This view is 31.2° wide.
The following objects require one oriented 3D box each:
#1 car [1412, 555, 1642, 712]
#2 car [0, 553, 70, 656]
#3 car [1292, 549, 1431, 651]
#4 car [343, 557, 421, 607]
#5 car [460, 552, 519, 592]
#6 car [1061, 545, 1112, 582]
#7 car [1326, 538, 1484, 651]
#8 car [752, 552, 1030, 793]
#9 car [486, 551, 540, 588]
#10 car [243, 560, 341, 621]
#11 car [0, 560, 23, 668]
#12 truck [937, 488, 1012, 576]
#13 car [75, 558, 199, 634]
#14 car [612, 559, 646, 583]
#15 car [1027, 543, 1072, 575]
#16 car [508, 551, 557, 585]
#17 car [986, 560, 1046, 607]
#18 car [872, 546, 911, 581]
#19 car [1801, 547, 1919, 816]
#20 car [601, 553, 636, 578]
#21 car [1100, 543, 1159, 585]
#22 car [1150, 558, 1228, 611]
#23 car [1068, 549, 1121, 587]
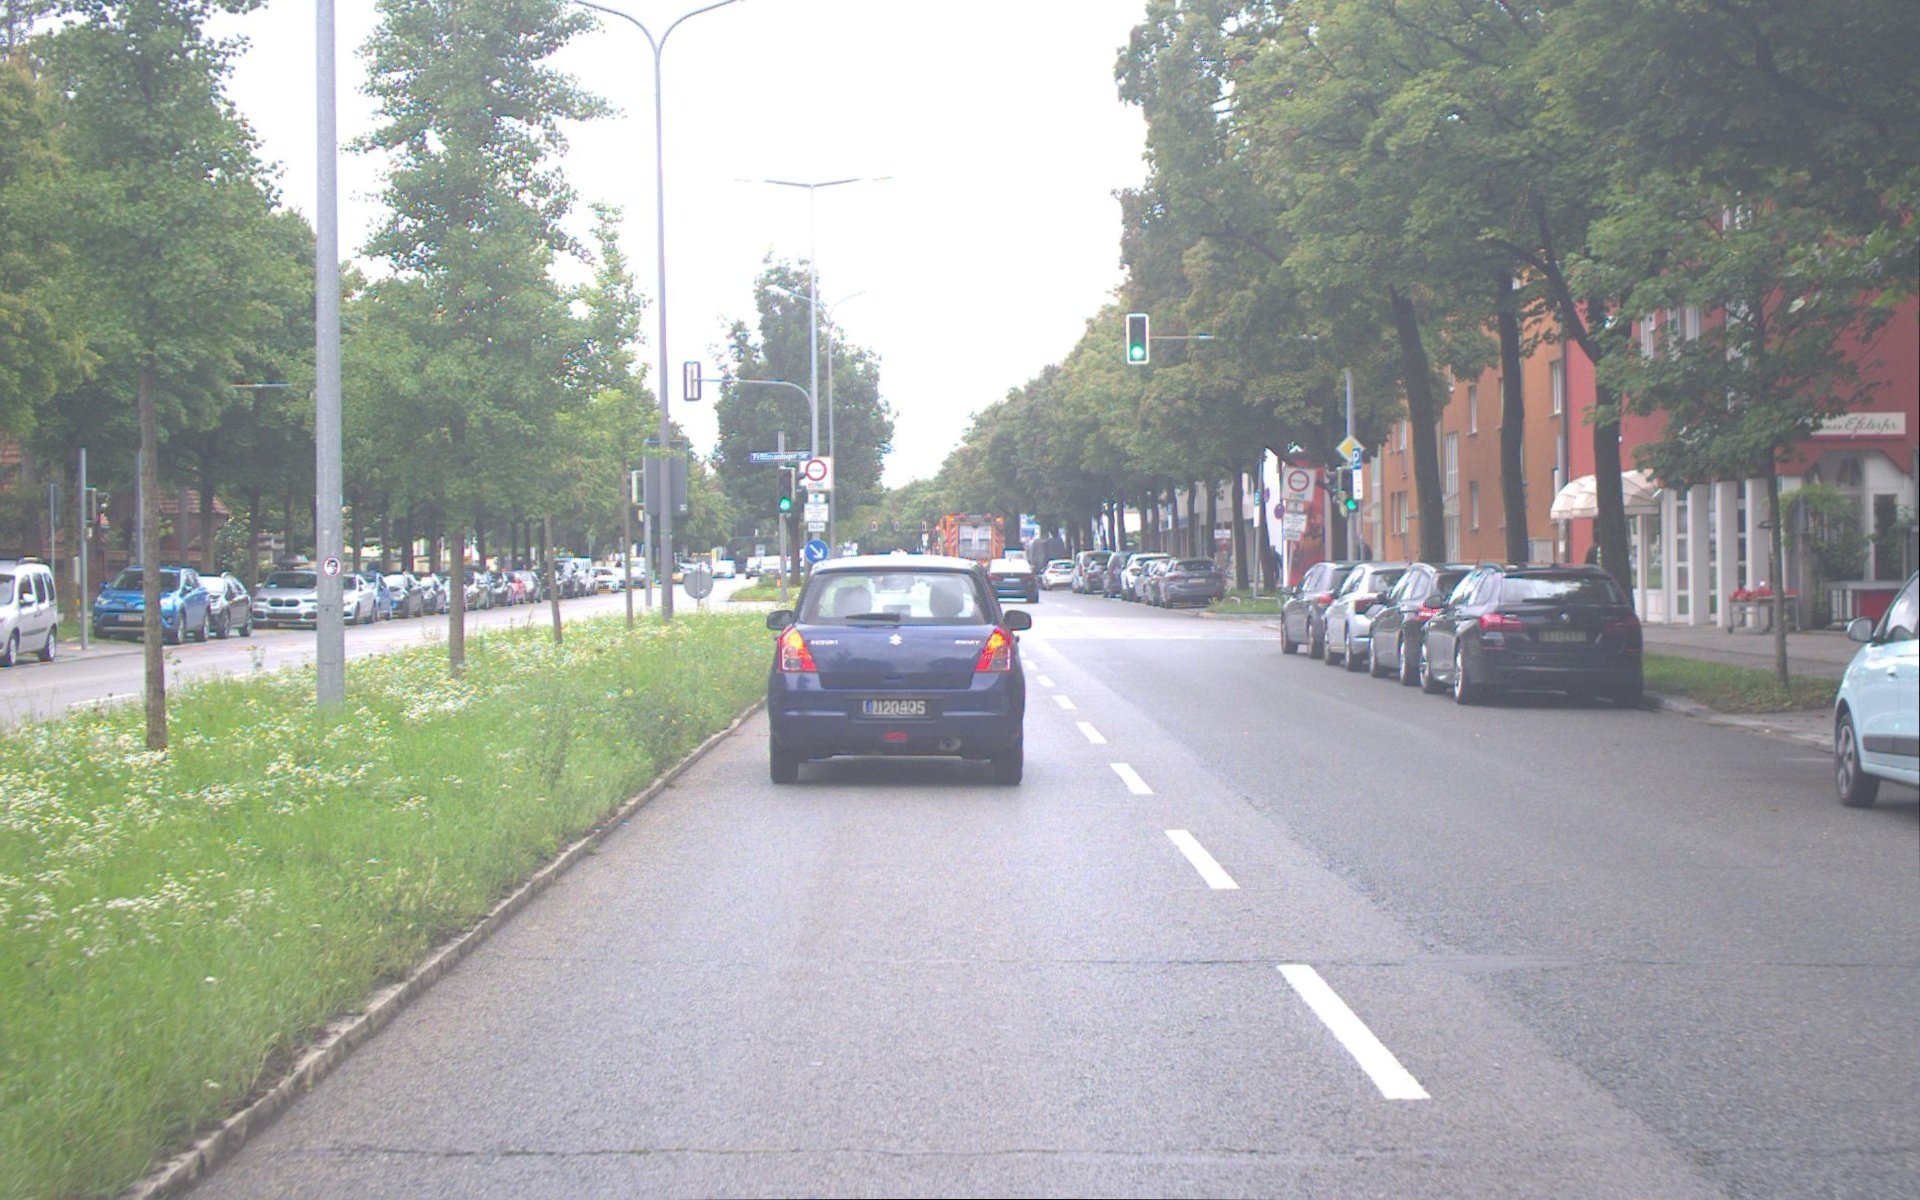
[{"bbox_3d":[5.943,0.304,36.495,1.653,1.447,4.708,-2,1,1],"label":"car"},{"bbox_3d":[-16.870,0.063,59.878,1.706,1.728,4.000,-1,1,0],"label":"car"},{"bbox_3d":[6.039,-0.028,52.048,1.695,1.447,4.123,-1,1,1],"label":"car"},{"bbox_3d":[-18.109,-0.583,107.825,1.801,1.529,4.000,0,1,0],"label":"car"},{"bbox_3d":[-18.652,-1.132,136.391,1.801,1.529,4.000,-1,1,0],"label":"car"},{"bbox_3d":[5.462,-1.592,148.516,1.993,1.525,4.000,-1,1,0],"label":"car"},{"bbox_3d":[5.989,-0.107,46.631,1.695,1.447,4.123,-1,1,1],"label":"car"},{"bbox_3d":[-0.423,0.430,23.826,1.753,1.499,4.000,-1,1,0],"label":"car"},{"bbox_3d":[-18.990,-1.297,146.261,1.801,1.529,4.000,-1,1,0],"label":"car"},{"bbox_3d":[-17.684,-0.278,91.157,1.801,1.529,4.000,-1,1,0],"label":"car"},{"bbox_3d":[-16.399,0.241,54.219,2.185,1.730,4.579,0,1,-3],"label":"car"},{"bbox_3d":[0.649,-2.881,146.638,3.041,3.545,13.675,0,1,0],"label":"truck"},{"bbox_3d":[-17.569,-0.110,73.547,1.706,1.529,4.000,-1,1,0],"label":"car"},{"bbox_3d":[-21.379,-1.884,222.001,1.801,1.529,4.000,-1,1,0],"label":"car"},{"bbox_3d":[4.323,-1.996,166.741,1.993,1.525,4.000,-1,1,0],"label":"car"},{"bbox_3d":[-20.028,-1.523,161.334,1.801,1.529,4.000,-1,1,0],"label":"car"},{"bbox_3d":[1.852,-0.579,114.941,1.821,1.472,4.691,1,1,-1],"label":"car"},{"bbox_3d":[-3.060,-1.641,153.682,1.718,1.495,4.301,0,1,-1],"label":"car"},{"bbox_3d":[6.133,0.424,19.899,1.653,1.447,4.000,-2,1,2],"label":"car"},{"bbox_3d":[-21.274,-2.142,214.511,1.801,1.529,4.000,-1,1,0],"label":"car"},{"bbox_3d":[6.455,-1.383,131.293,1.993,1.525,4.000,-1,1,0],"label":"car"},{"bbox_3d":[6.814,-0.481,102.501,1.993,1.525,4.000,-1,1,0],"label":"car"},{"bbox_3d":[5.615,-1.354,143.650,1.993,1.525,4.000,-1,1,0],"label":"car"}]
